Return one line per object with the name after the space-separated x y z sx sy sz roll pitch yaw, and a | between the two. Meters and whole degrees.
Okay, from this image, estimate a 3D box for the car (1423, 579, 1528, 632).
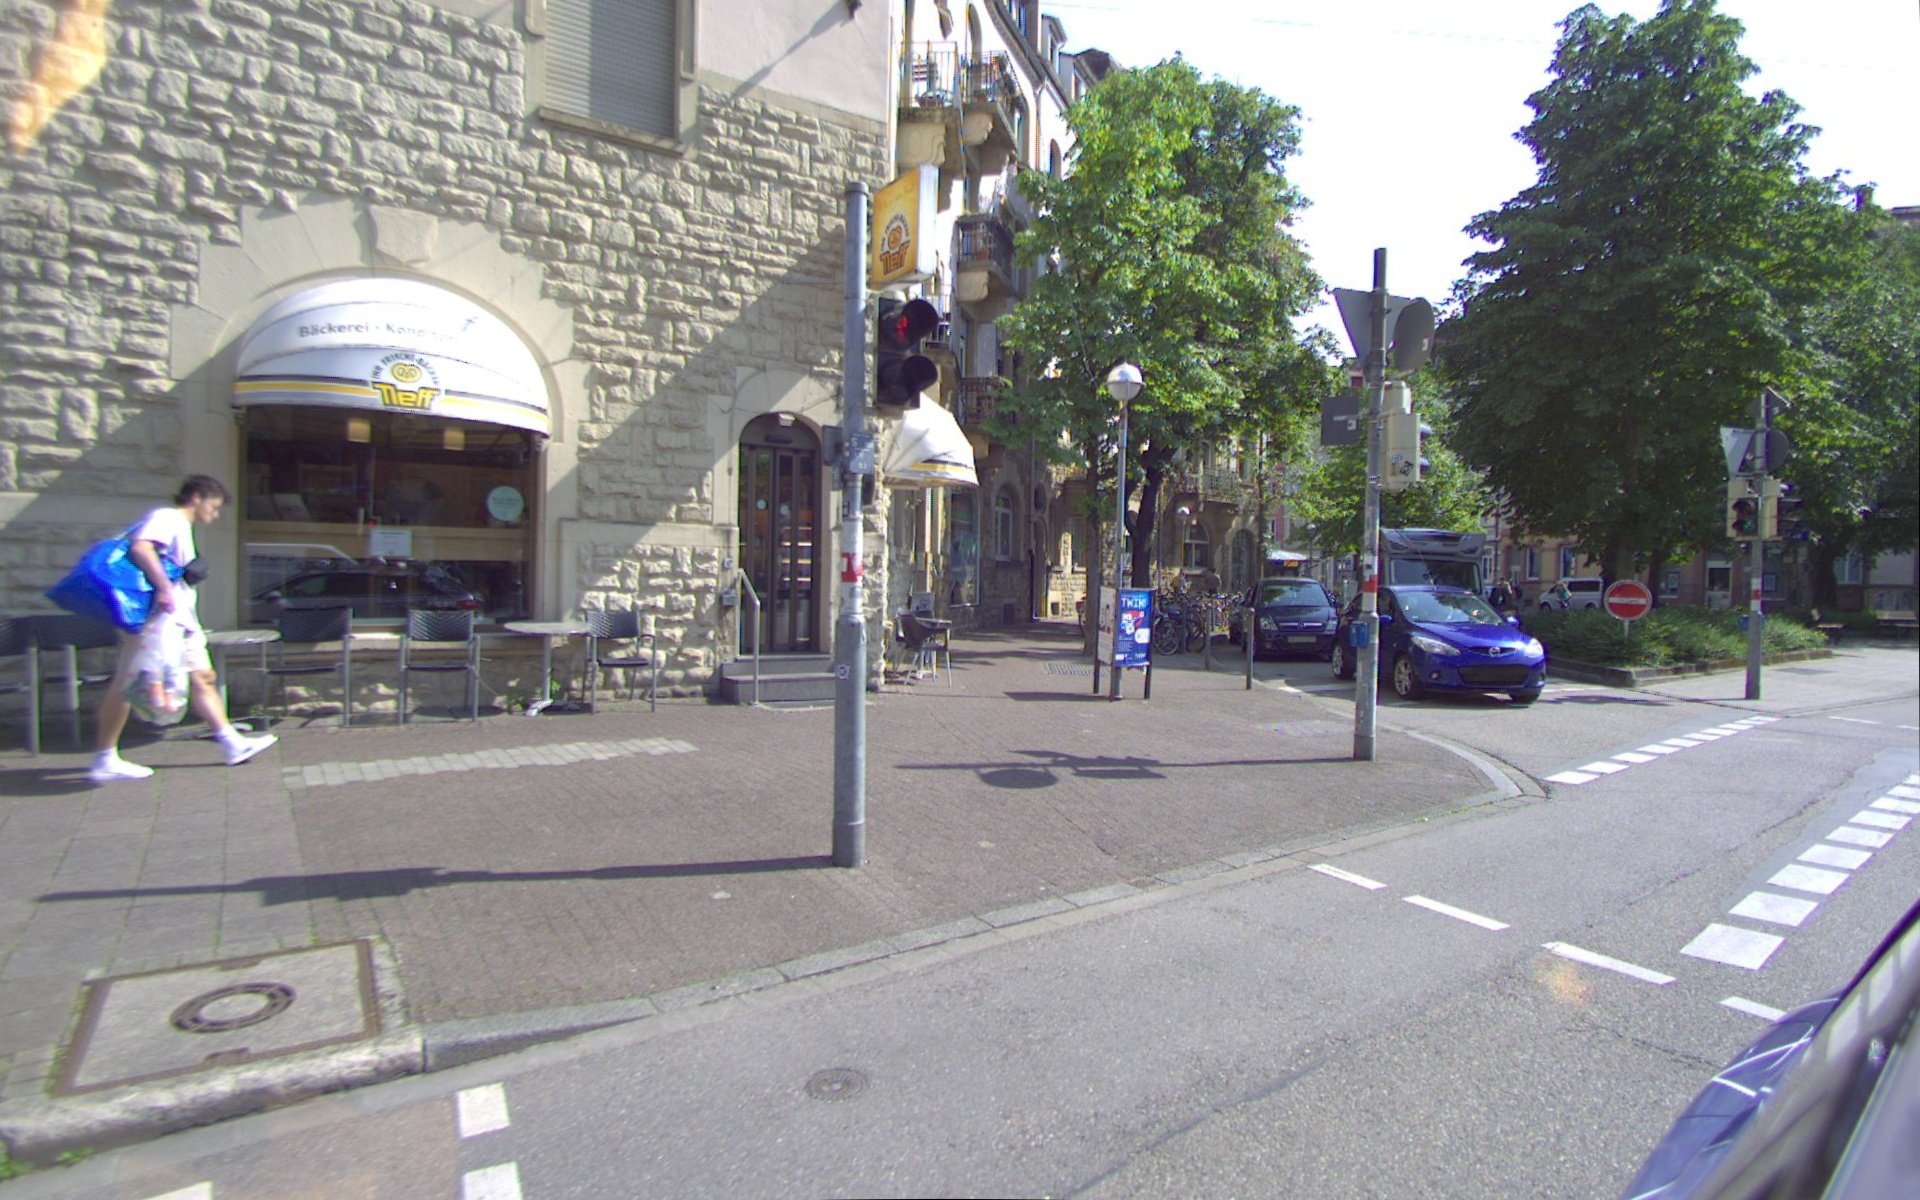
16.059 0.124 31.417 1.842 1.519 4.121 2 2 43 | car

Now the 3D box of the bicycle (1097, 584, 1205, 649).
3.622 0.309 19.282 1.936 1.155 0.588 2 0 2 | bicycle

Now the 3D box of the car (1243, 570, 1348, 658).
6.633 0.234 20.358 1.703 1.574 4.095 -1 0 15 | car

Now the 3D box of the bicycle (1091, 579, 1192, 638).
3.693 0.166 20.701 1.936 1.130 0.588 2 0 2 | bicycle

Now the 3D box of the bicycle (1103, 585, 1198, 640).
4.137 0.263 22.087 1.936 1.130 0.588 2 0 2 | bicycle

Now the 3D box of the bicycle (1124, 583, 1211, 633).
4.983 0.179 24.330 1.936 1.130 0.588 2 0 2 | bicycle

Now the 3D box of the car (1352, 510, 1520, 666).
9.989 -0.270 21.859 2.360 2.829 6.637 1 1 17 | car

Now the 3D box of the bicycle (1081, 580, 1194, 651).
3.237 0.282 18.563 1.936 1.225 0.588 2 0 2 | bicycle

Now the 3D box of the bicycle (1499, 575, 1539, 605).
22.682 -0.398 41.111 0.513 1.209 1.854 -1 0 -3 | bicycle

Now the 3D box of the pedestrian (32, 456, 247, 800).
-4.720 0.116 5.903 0.833 1.789 1.015 1 4 -32 | pedestrian

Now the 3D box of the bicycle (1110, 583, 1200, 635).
4.474 0.194 23.338 1.936 1.130 0.588 2 0 2 | bicycle

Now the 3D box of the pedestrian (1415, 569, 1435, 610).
19.836 -0.454 43.154 0.523 1.721 0.561 0 0 -34 | pedestrian

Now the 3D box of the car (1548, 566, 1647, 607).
32.244 -0.727 51.355 1.800 2.011 4.325 0 2 -10 | car

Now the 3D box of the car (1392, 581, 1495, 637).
13.367 0.195 27.851 1.826 1.386 4.429 2 2 35 | car

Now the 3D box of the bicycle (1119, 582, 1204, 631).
4.949 0.160 24.930 1.936 1.130 0.588 2 0 2 | bicycle

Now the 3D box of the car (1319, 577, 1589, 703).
6.544 0.426 13.975 1.857 1.436 3.999 1 2 2 | car

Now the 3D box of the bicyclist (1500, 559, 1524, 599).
22.593 -0.856 41.415 0.496 1.619 0.701 2 0 -3 | bicyclist

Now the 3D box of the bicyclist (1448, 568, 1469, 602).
20.916 -0.627 42.441 0.473 1.422 0.634 0 0 -34 | bicyclist
